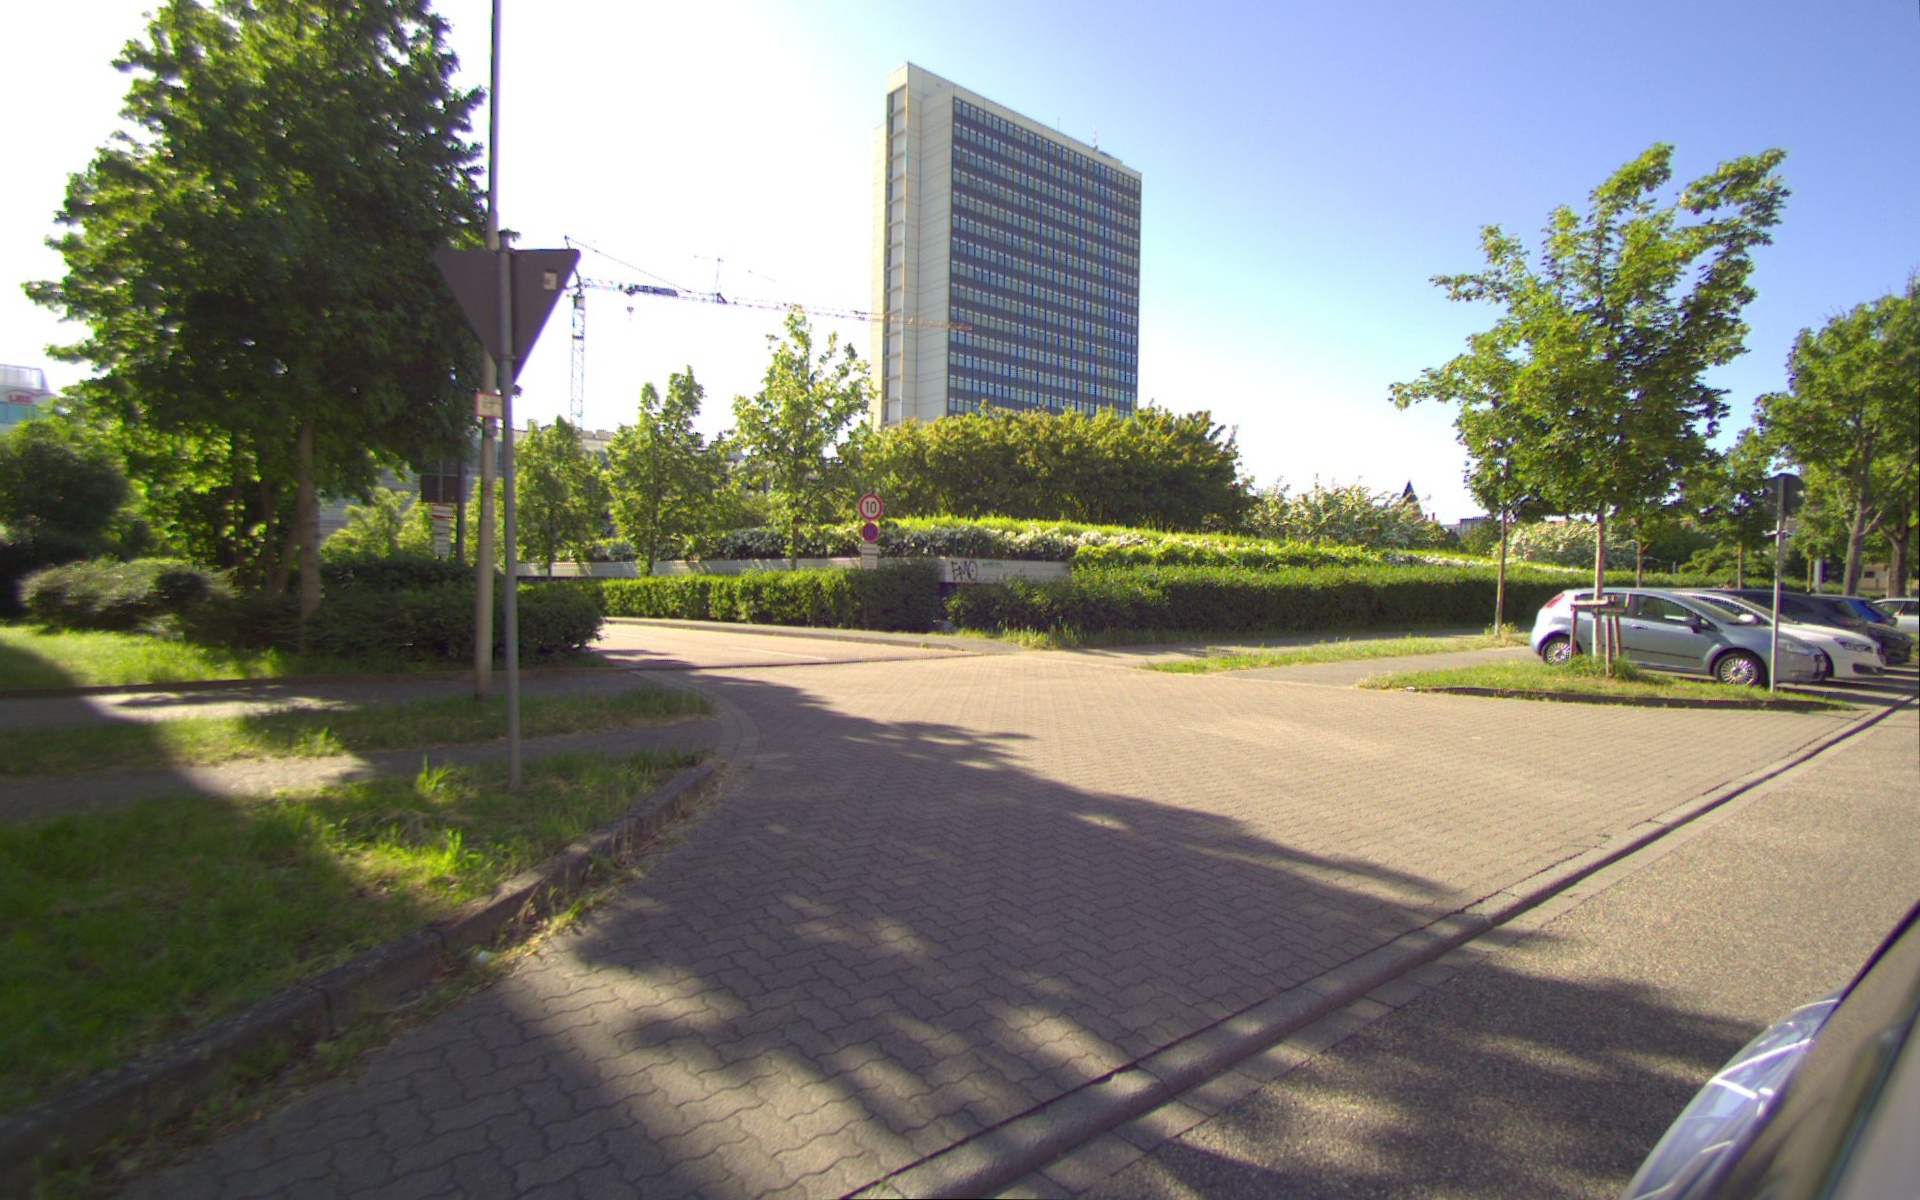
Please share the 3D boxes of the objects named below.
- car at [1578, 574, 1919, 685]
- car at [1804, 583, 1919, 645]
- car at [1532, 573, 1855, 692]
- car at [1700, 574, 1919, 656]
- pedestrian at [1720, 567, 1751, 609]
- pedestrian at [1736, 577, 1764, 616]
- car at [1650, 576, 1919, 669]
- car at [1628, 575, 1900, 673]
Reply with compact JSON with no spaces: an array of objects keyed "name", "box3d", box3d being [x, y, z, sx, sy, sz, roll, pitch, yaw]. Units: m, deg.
[{"name":"car","box3d":[14.149,0.408,18.376,1.947,1.533,4.560,-1,4,-40]},{"name":"car","box3d":[25.971,0.430,27.658,1.611,1.446,4.108,0,5,-33]},{"name":"car","box3d":[11.921,0.422,16.674,1.671,1.533,3.959,0,4,-39]},{"name":"car","box3d":[19.698,0.275,23.378,1.713,1.465,3.818,0,6,-38]},{"name":"pedestrian","box3d":[28.863,-0.448,37.667,0.919,1.561,0.609,1,1,-34]},{"name":"pedestrian","box3d":[33.365,-0.134,42.759,0.837,1.607,0.725,0,1,-39]},{"name":"car","box3d":[17.735,0.387,21.554,2.120,1.533,4.562,-1,4,-40]},{"name":"car","box3d":[15.738,0.379,19.978,1.720,1.533,3.886,-1,4,-40]}]
